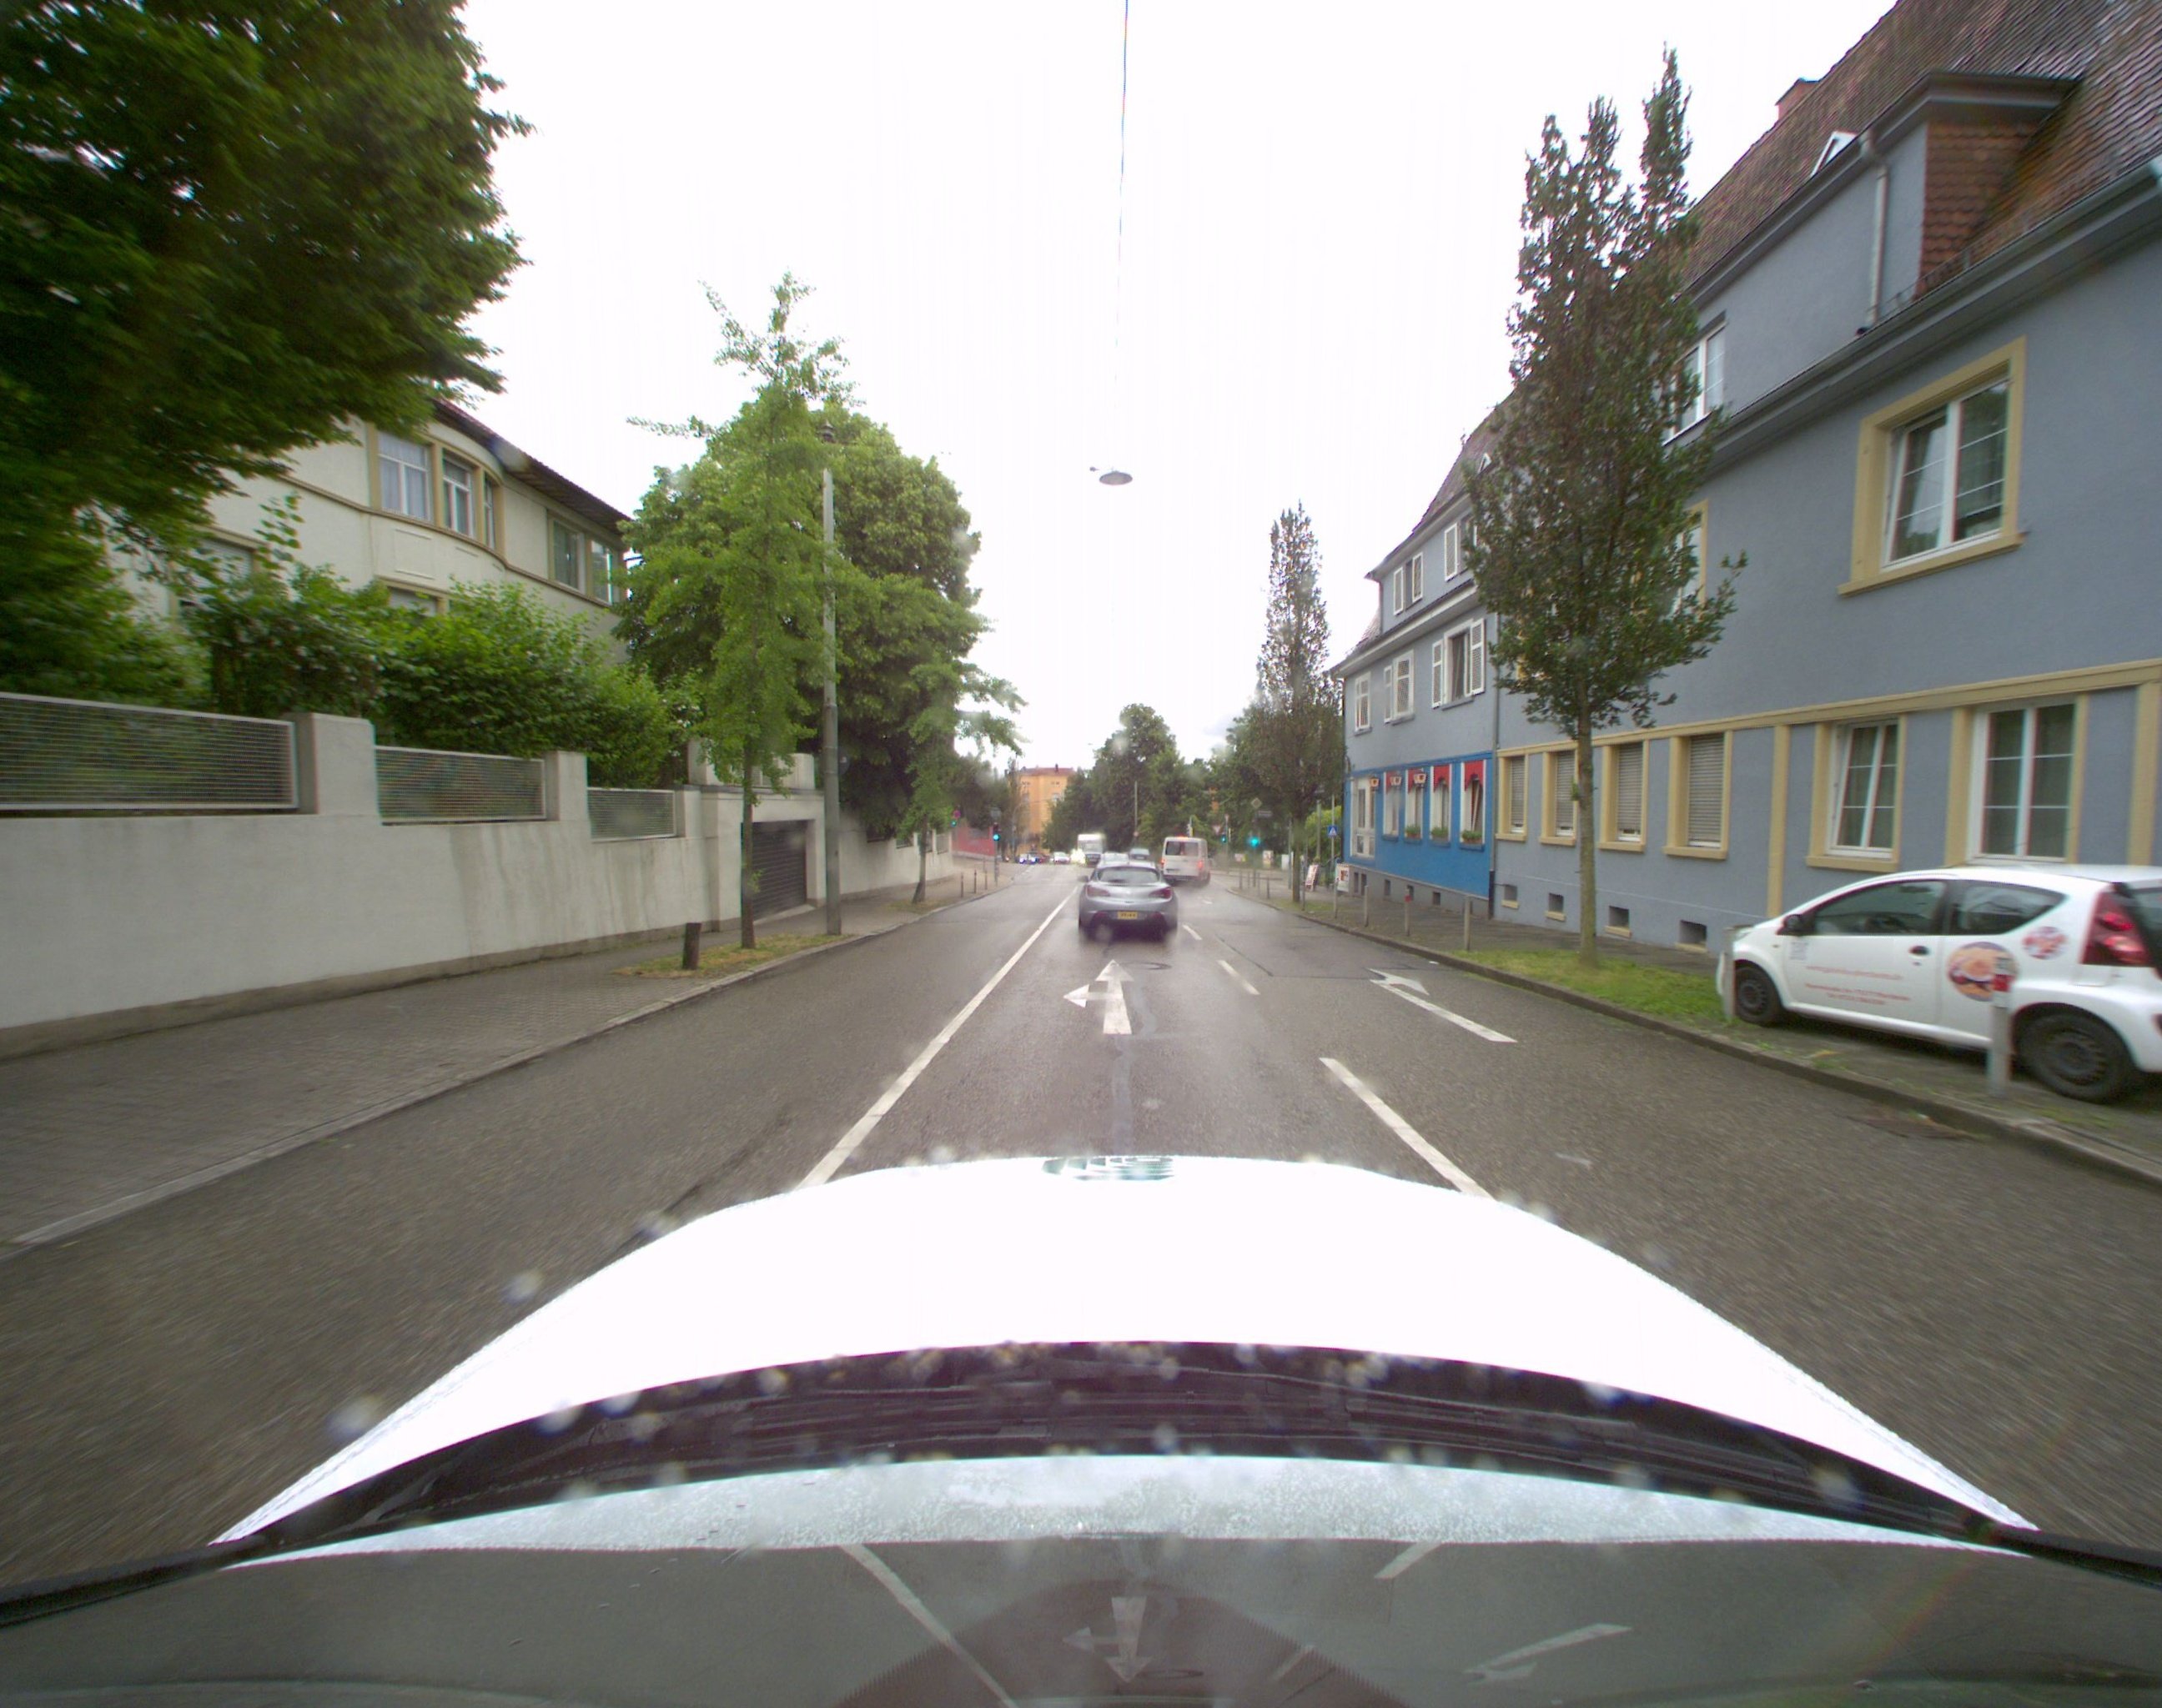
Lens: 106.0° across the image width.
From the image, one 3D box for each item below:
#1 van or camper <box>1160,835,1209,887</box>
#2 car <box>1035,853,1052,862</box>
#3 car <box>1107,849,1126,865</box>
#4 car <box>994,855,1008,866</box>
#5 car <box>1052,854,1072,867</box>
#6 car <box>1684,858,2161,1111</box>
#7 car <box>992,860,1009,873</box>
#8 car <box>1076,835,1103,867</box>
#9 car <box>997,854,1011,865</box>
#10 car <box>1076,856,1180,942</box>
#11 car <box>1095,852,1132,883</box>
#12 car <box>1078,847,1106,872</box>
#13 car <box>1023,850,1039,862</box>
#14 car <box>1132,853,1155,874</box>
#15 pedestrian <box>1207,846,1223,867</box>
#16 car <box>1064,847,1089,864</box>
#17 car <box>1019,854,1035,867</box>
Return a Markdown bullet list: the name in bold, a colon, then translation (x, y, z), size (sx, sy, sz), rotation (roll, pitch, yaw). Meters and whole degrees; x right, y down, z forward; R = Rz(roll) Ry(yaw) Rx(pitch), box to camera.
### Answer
- **van or camper**: translation (5.191, 0.319, 40.331), size (2.091, 2.326, 5.431), rotation (2, 0, 10)
- **car**: translation (-6.345, 0.596, 136.920), size (1.819, 1.467, 3.977), rotation (-5, 0, -17)
- **car**: translation (3.518, 0.298, 81.128), size (1.617, 1.486, 3.431), rotation (0, -1, -4)
- **car**: translation (-13.237, 1.057, 135.386), size (1.846, 1.584, 4.263), rotation (4, -1, -11)
- **car**: translation (-2.216, 0.788, 93.774), size (1.773, 1.497, 4.249), rotation (0, -1, -9)
- **car**: translation (6.929, 0.766, 6.500), size (1.582, 1.411, 3.454), rotation (-1, 0, -2)
- **car**: translation (-10.536, 1.645, 106.713), size (1.815, 1.612, 3.985), rotation (1, -1, -11)
- **car**: translation (0.644, -0.215, 66.323), size (2.111, 2.545, 5.536), rotation (0, 0, -1)
- **car**: translation (-13.918, 1.013, 147.171), size (1.995, 2.014, 3.983), rotation (0, -1, -12)
- **car**: translation (0.898, 0.801, 16.341), size (1.808, 1.429, 4.002), rotation (1, 1, 2)
- **car**: translation (1.624, 0.717, 41.003), size (1.769, 1.430, 3.786), rotation (-1, -2, 2)
- **car**: translation (0.741, 0.344, 57.792), size (1.816, 1.652, 4.345), rotation (1, 1, -1)
- **car**: translation (-7.876, 0.305, 127.920), size (1.784, 1.855, 3.980), rotation (1, -1, -14)
- **car**: translation (4.400, 0.659, 57.782), size (1.378, 1.411, 3.456), rotation (-1, 0, 0)
- **pedestrian**: translation (10.712, 0.214, 64.878), size (0.770, 1.605, 0.956), rotation (-2, 0, -29)
- **car**: translation (-0.437, 0.153, 80.762), size (1.874, 1.575, 4.573), rotation (0, -1, -8)
- **car**: translation (-6.755, 0.814, 102.173), size (1.849, 1.486, 5.361), rotation (0, 1, -3)
